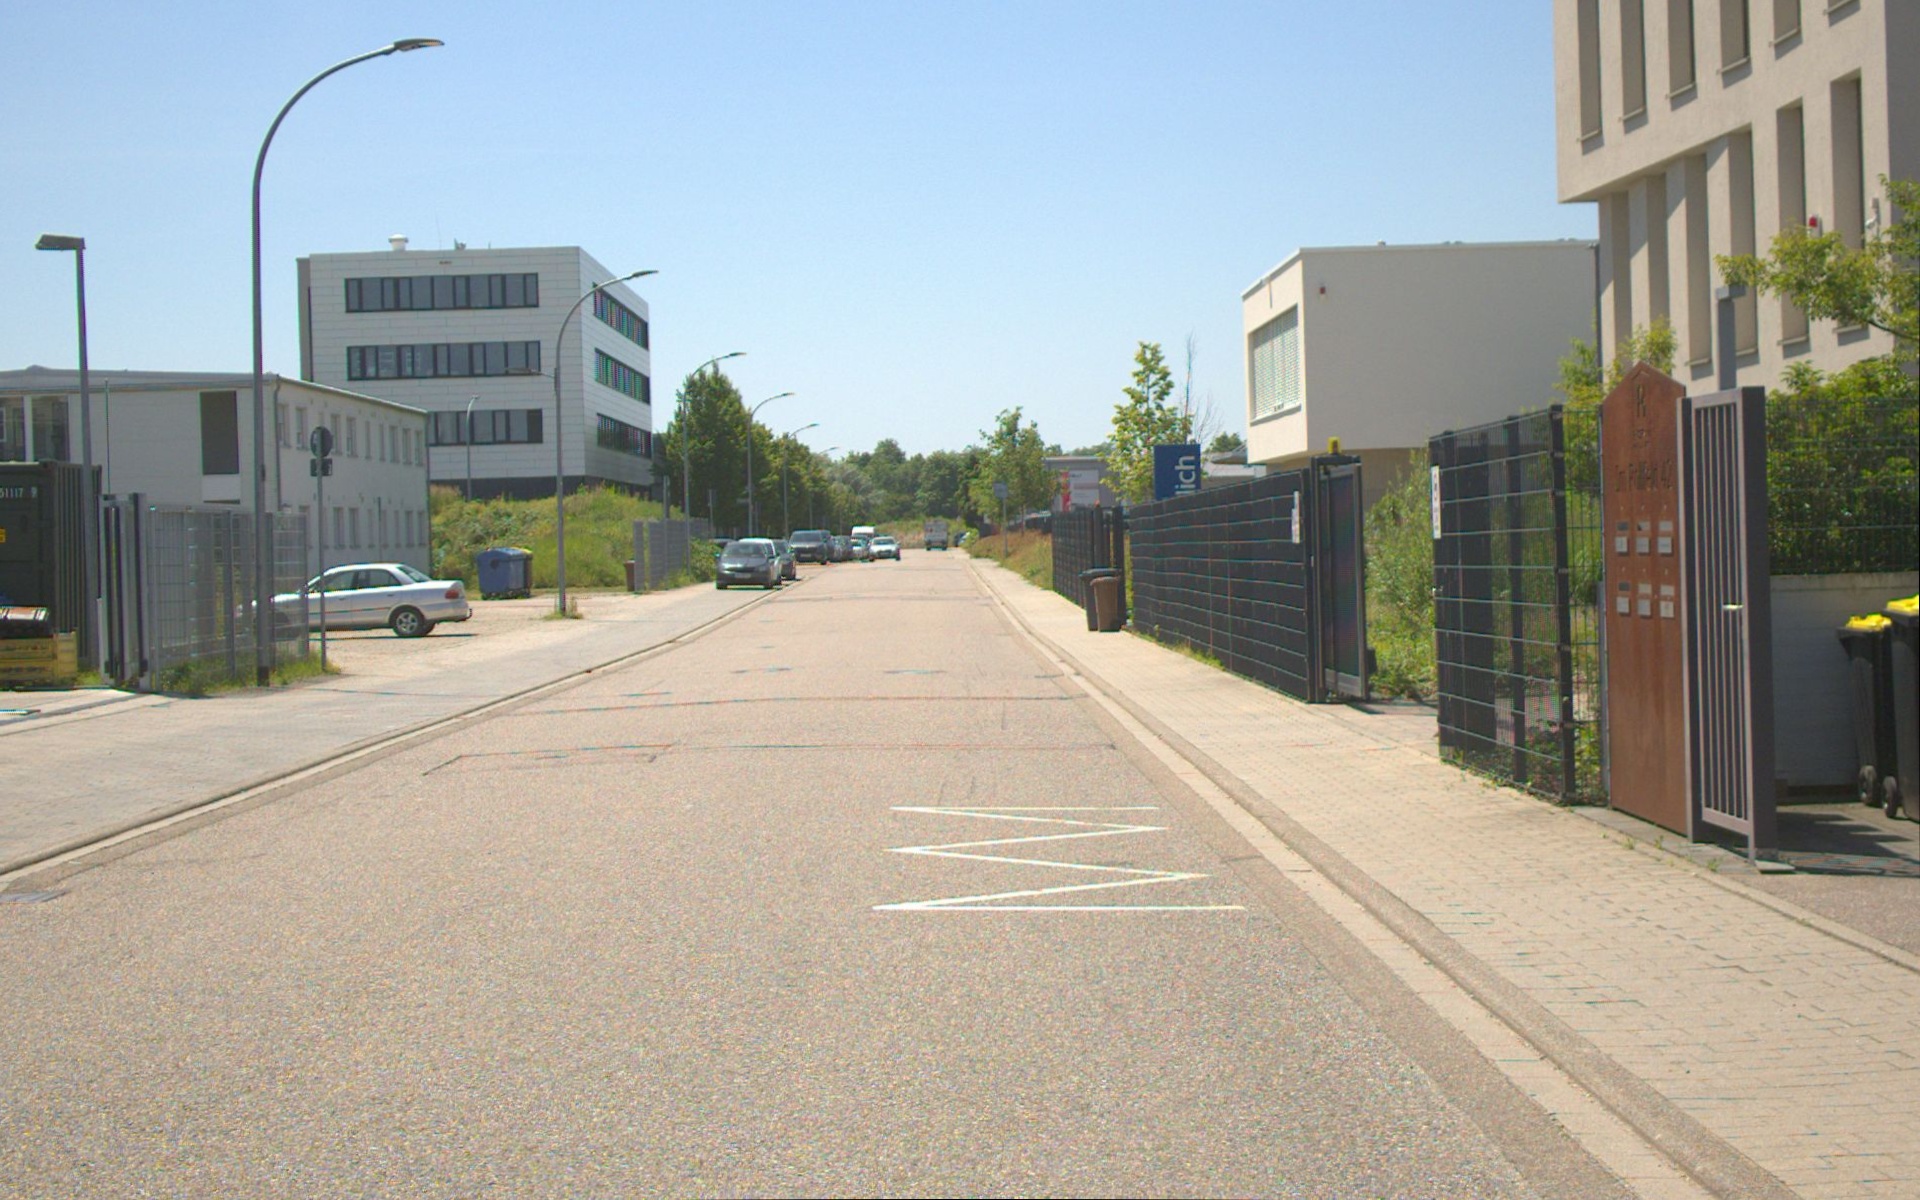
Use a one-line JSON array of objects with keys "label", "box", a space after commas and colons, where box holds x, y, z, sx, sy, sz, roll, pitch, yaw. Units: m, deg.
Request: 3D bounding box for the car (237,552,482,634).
[{"label": "car", "box": [-11.377, -0.144, 65.321, 4.277, 1.360, 1.898, -2, 1, 0]}]

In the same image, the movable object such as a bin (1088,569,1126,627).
[{"label": "movable object such as a bin", "box": [2.511, -0.041, 58.716, 0.552, 0.925, 0.522, -6, 2, 4]}]

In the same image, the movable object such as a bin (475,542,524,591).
[{"label": "movable object such as a bin", "box": [-13.427, -0.981, 100.289, 1.285, 1.407, 1.807, -1, 1, -4]}]

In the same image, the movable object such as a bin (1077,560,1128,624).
[{"label": "movable object such as a bin", "box": [2.478, -0.137, 59.697, 0.779, 1.016, 0.665, -6, 2, 4]}]

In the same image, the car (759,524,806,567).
[{"label": "car", "box": [-6.314, -1.936, 122.650, 1.466, 1.484, 3.207, -1, 1, 0]}]

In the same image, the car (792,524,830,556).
[{"label": "car", "box": [-6.994, -2.817, 161.456, 1.644, 1.484, 3.207, -1, 1, 0]}]

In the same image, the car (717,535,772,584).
[{"label": "car", "box": [-6.670, -1.264, 106.542, 1.466, 1.484, 3.207, -1, 1, 0]}]

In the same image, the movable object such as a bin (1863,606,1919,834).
[{"label": "movable object such as a bin", "box": [4.649, 0.547, 16.164, 0.604, 1.032, 0.650, -2, 1, 0]}]

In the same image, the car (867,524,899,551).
[{"label": "car", "box": [-4.634, -3.775, 206.181, 1.804, 1.551, 4.000, -2, 1, 0]}]

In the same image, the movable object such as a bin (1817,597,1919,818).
[{"label": "movable object such as a bin", "box": [4.638, 0.518, 16.972, 0.543, 1.032, 0.913, -2, 1, -1]}]

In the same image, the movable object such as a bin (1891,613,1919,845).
[{"label": "movable object such as a bin", "box": [4.697, 0.572, 15.528, 0.793, 1.032, 0.581, -2, 1, -1]}]
